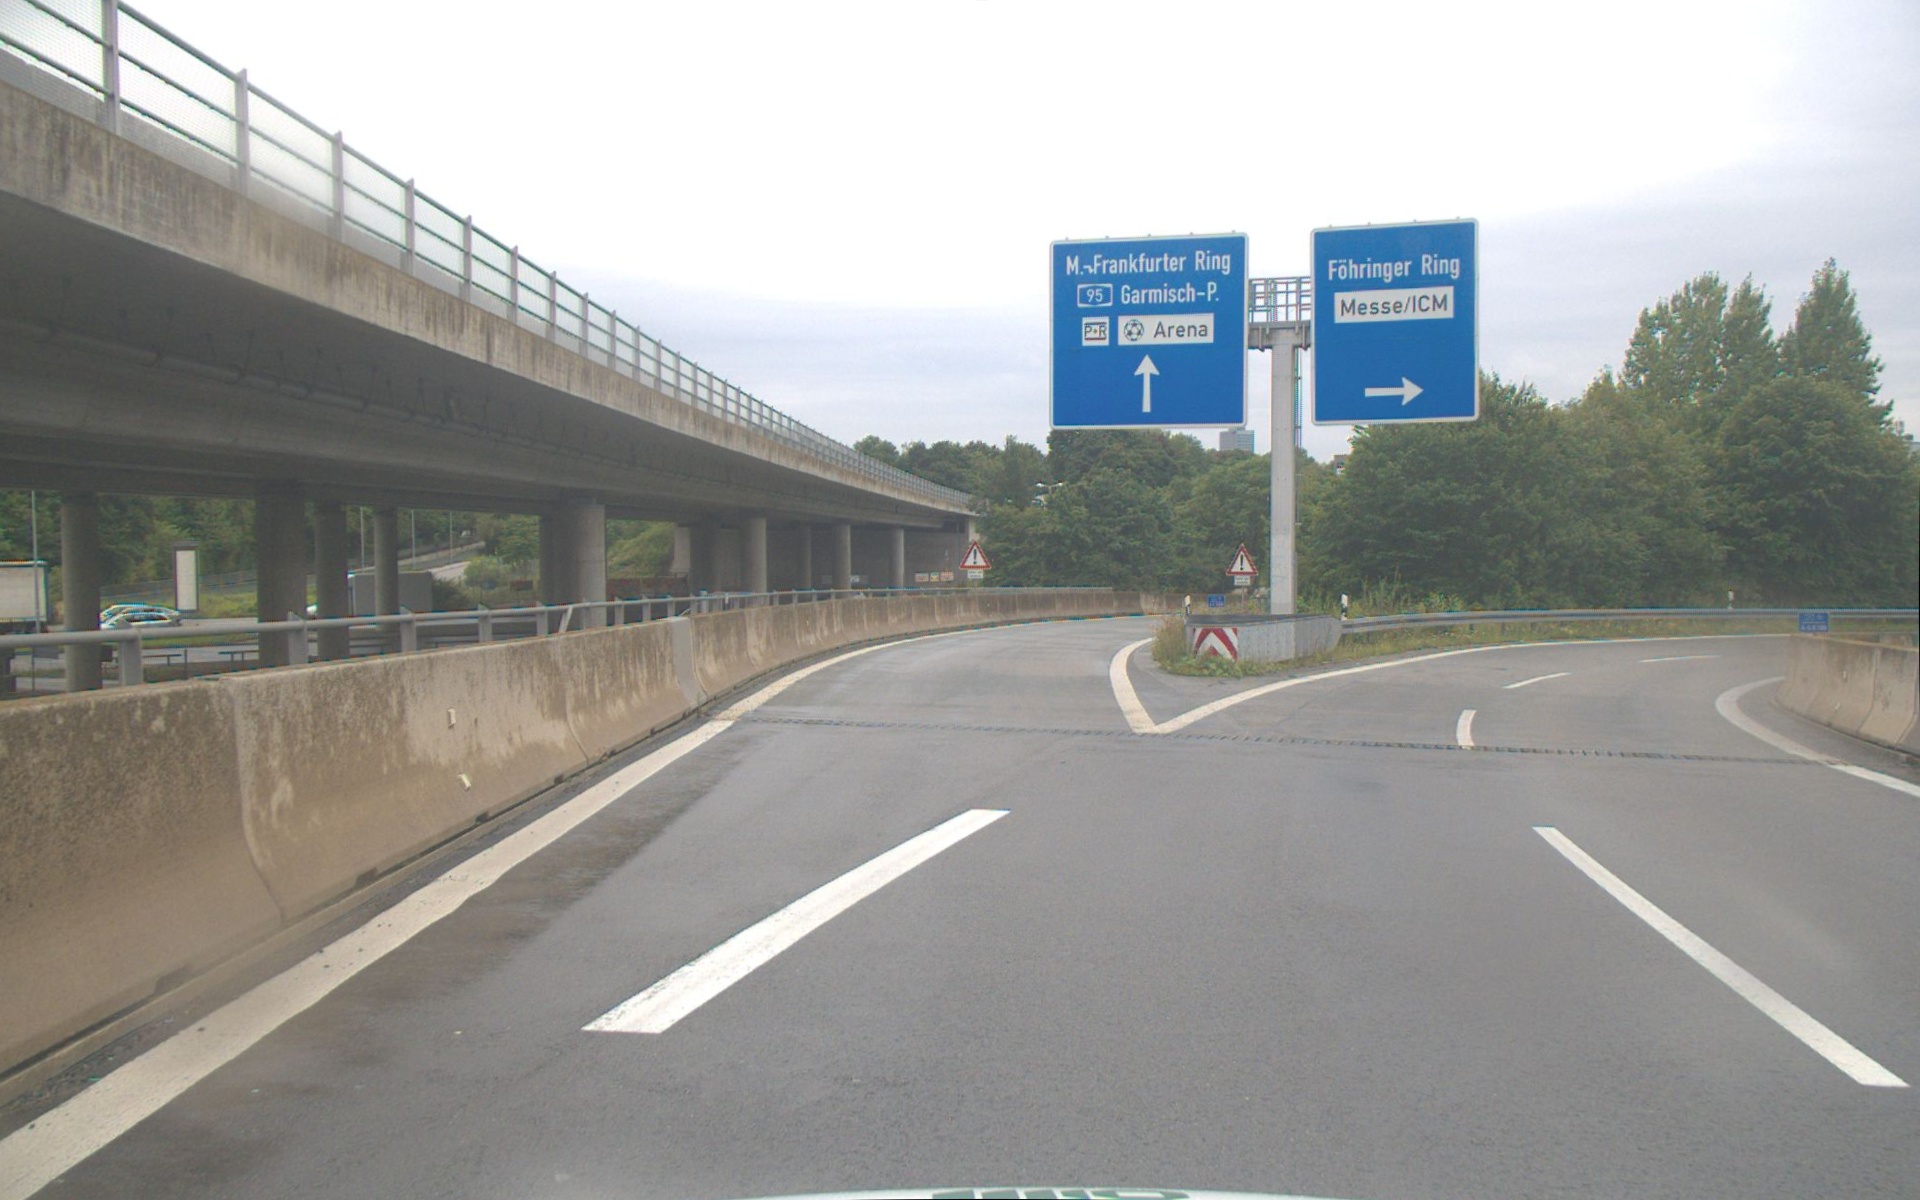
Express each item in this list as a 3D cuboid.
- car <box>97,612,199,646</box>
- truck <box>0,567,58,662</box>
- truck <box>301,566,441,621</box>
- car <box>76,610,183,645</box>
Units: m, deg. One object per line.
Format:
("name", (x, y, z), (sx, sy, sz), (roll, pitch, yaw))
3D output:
("car", (-42.547, 1.495, 86.673), (4.539, 1.611, 1.951), (-1, 1, -36))
("truck", (-49.806, 0.768, 81.099), (9.495, 4.672, 2.764), (-1, 1, -36))
("truck", (-33.191, -0.348, 93.366), (7.146, 3.029, 2.233), (0, 0, -34))
("car", (-41.828, 1.345, 83.343), (4.545, 1.611, 1.948), (-1, 1, -38))
